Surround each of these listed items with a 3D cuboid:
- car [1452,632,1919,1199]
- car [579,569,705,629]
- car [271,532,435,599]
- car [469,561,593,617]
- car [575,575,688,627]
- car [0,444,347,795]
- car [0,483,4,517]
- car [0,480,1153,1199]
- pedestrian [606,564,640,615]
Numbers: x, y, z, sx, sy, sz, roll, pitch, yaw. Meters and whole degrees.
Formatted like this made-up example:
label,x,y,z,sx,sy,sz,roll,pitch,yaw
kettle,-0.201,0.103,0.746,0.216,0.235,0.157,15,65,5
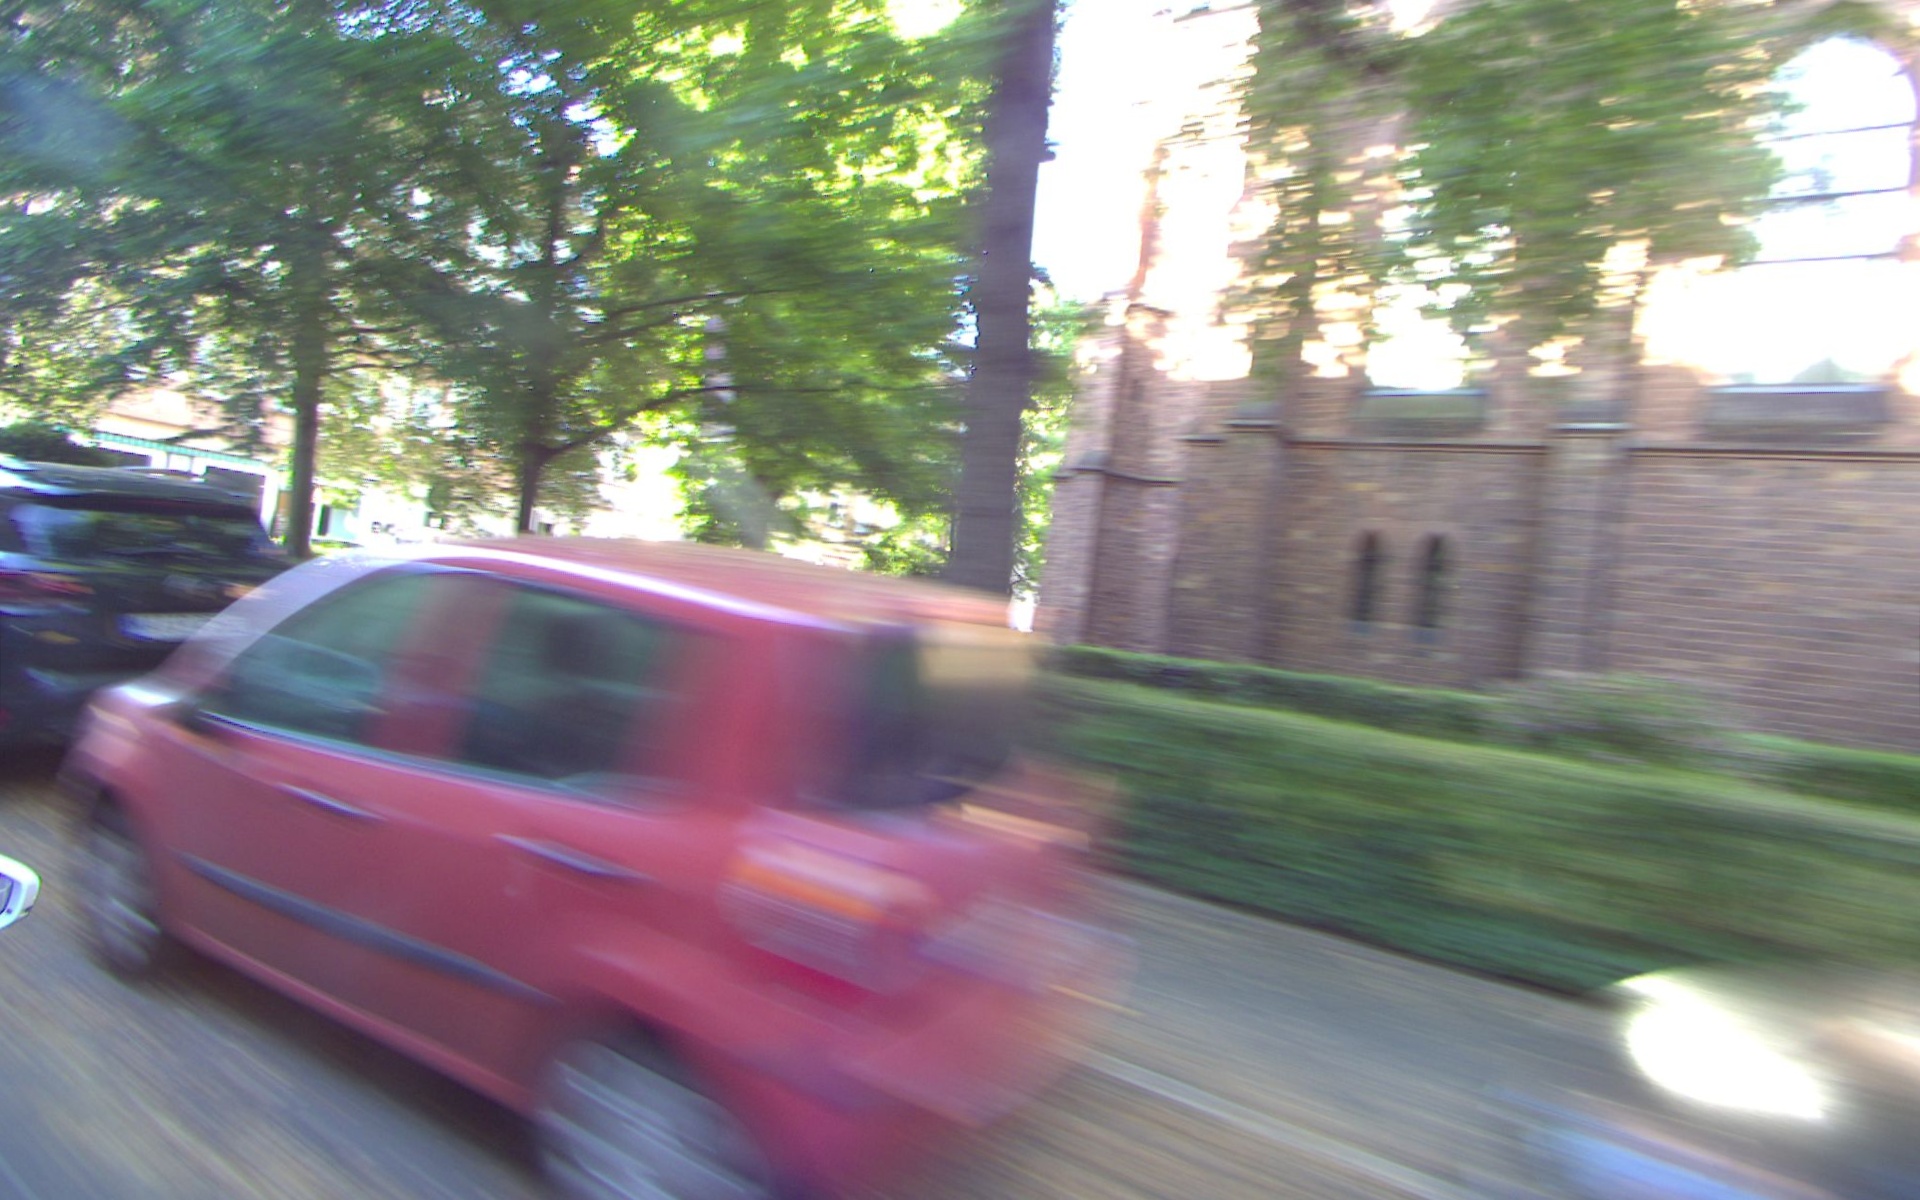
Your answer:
label,x,y,z,sx,sy,sz,roll,pitch,yaw
car,2.556,0.997,0.895,3.714,1.507,1.618,6,4,32
car,-10.351,-0.011,32.880,1.610,1.489,3.531,4,-3,38
car,-18.386,-1.020,30.595,1.610,1.489,3.855,4,-3,38
car,-14.922,-0.349,35.118,1.610,1.489,3.531,4,-3,38
car,-12.438,0.065,38.259,1.610,1.489,3.688,4,-3,38
car,-5.933,-0.093,6.233,4.190,1.625,1.740,6,4,28
car,-10.365,-0.472,8.879,3.763,1.590,1.722,7,0,30
car,-1.493,0.556,3.386,3.797,1.647,1.619,6,4,28
pedestrian,-13.863,-0.435,41.383,0.787,1.943,0.716,10,1,32
